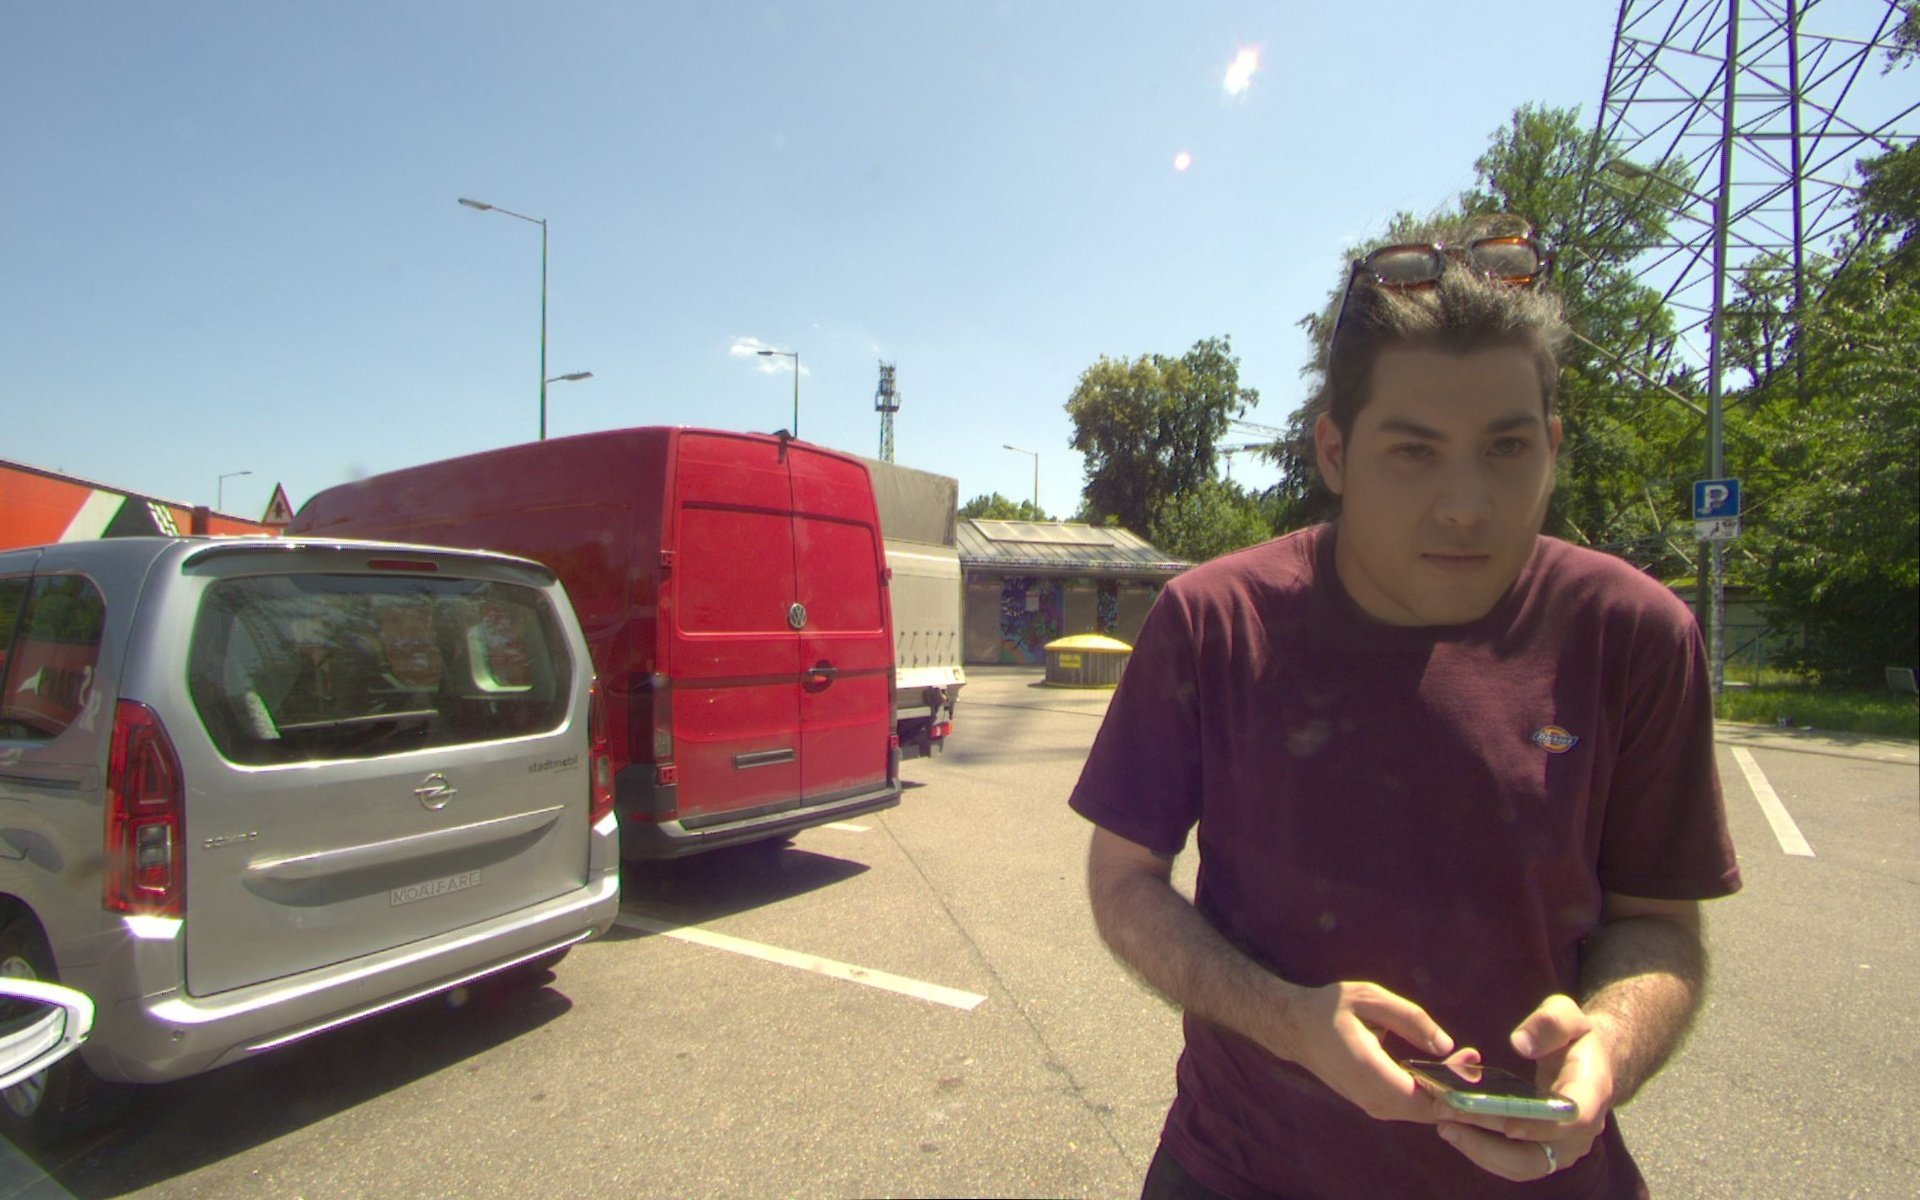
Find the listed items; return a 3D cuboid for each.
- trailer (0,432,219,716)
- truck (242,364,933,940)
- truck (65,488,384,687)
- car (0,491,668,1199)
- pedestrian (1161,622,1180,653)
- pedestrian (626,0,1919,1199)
[{"bbox_3d":[-16.504,-0.374,17.202,2.791,4.313,8.676,1,-1,-13],"label":"trailer"},{"bbox_3d":[-2.864,0.262,6.995,5.233,2.658,1.987,0,-1,37],"label":"truck"},{"bbox_3d":[-18.618,-0.139,26.530,2.644,4.181,10.596,1,-1,-12],"label":"truck"},{"bbox_3d":[-3.350,0.637,4.210,3.938,1.776,1.824,0,-1,29],"label":"car"},{"bbox_3d":[9.452,1.686,44.981,0.579,1.402,0.754,0,-1,-8],"label":"pedestrian"},{"bbox_3d":[0.357,0.501,0.870,0.926,1.798,0.827,1,-1,28],"label":"pedestrian"}]
